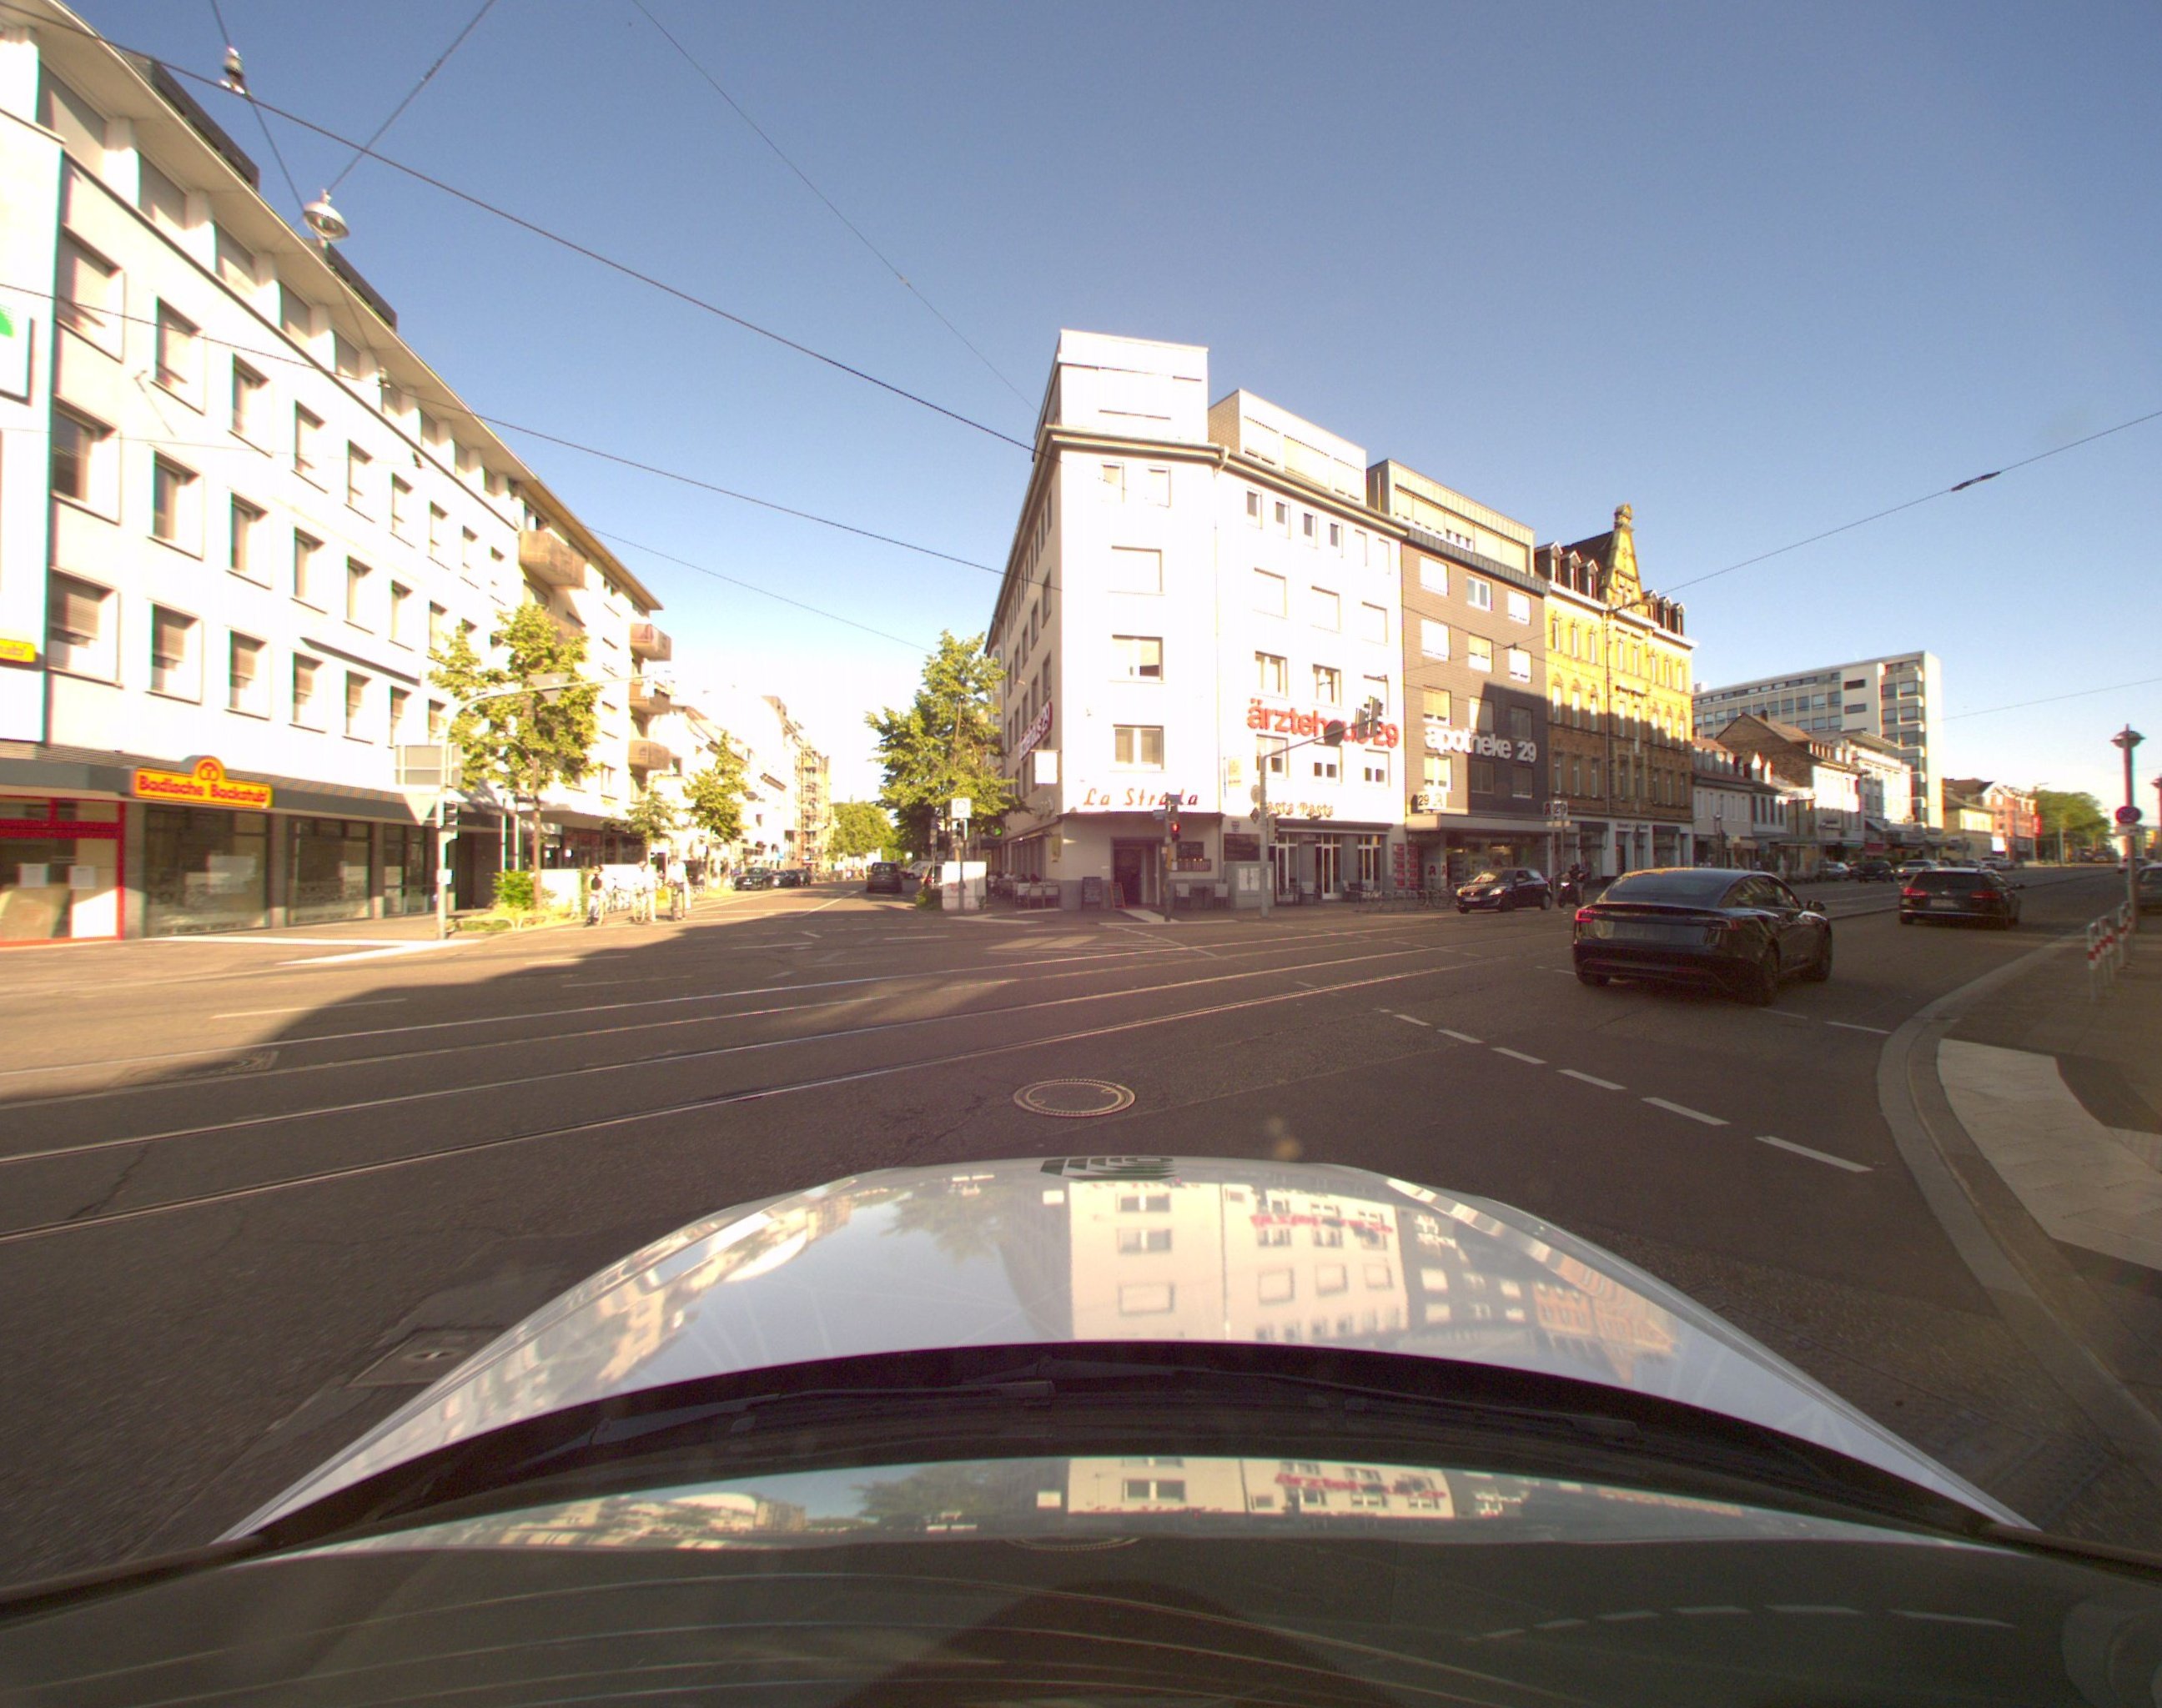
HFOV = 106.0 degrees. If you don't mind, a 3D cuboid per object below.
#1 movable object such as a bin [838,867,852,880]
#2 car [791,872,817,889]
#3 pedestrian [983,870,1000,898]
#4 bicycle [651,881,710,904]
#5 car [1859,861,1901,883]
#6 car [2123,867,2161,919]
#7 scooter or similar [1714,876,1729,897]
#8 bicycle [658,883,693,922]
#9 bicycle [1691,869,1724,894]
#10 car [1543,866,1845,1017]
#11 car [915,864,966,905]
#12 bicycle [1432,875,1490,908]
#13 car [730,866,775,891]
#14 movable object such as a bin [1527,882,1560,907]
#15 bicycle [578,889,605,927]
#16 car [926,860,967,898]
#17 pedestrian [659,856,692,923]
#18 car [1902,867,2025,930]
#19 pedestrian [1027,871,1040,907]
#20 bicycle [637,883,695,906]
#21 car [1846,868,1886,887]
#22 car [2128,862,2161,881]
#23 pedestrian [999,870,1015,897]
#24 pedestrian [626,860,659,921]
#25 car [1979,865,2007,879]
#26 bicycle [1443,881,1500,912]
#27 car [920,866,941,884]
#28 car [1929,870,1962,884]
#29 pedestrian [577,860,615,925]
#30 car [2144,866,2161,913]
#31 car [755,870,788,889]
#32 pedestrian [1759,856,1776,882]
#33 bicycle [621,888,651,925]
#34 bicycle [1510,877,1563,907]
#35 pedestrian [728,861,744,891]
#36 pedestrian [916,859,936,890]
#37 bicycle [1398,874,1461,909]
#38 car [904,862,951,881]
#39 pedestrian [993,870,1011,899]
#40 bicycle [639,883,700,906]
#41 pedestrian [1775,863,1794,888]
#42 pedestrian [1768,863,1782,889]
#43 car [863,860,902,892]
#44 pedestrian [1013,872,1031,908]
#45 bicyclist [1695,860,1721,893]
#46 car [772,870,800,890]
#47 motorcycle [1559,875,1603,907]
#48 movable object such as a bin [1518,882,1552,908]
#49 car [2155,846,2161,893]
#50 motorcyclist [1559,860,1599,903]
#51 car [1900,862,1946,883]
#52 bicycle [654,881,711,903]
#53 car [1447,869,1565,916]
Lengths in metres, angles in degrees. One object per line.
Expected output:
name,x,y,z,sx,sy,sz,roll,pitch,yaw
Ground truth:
movable object such as a bin,-26.977,2.242,93.139,1.316,1.408,1.061,0,-1,-28
car,-24.679,2.338,72.576,1.788,1.402,3.888,1,-1,-13
pedestrian,-4.433,1.463,40.255,0.710,1.347,1.054,0,-1,-14
bicycle,-18.577,1.776,37.837,2.398,0.978,0.651,0,-1,-22
car,56.555,1.259,57.655,2.841,1.566,1.636,0,-1,-35
car,32.021,1.104,23.645,4.319,1.462,1.834,1,-2,-34
scooter or similar,37.563,1.914,47.751,1.484,1.201,0.361,1,1,-39
bicycle,-11.663,1.384,23.475,0.761,1.008,1.712,-3,0,-23
bicycle,32.821,1.420,42.645,2.033,1.293,0.745,1,0,-34
car,7.590,0.872,9.940,4.384,1.427,1.854,0,-1,-38
car,-6.045,1.266,34.911,2.002,1.636,4.272,1,-1,-11
bicycle,15.031,1.458,32.210,0.778,1.172,1.918,1,0,-40
car,-22.187,1.621,55.139,1.993,1.598,3.986,1,-1,-10
movable object such as a bin,20.354,1.776,35.846,0.702,1.063,1.091,1,0,-35
bicycle,-13.416,1.462,22.331,0.482,0.956,1.443,0,-1,-25
car,-6.863,1.235,41.281,1.905,1.852,4.272,1,-1,-11
pedestrian,-11.697,1.005,23.526,0.782,1.866,0.993,-2,0,-26
car,21.978,1.050,20.236,4.375,1.419,1.747,2,-2,-39
pedestrian,-1.789,1.318,30.808,0.487,1.322,0.652,0,-1,-4
bicycle,-18.224,1.764,35.823,2.230,0.958,0.651,0,-1,-24
car,66.604,1.987,69.096,3.757,1.546,1.663,1,1,-34
car,103.549,1.681,79.154,3.769,1.871,2.069,0,-1,-35
pedestrian,-3.696,1.464,40.570,0.731,1.360,0.955,0,-1,-12
pedestrian,-12.627,1.035,23.453,0.782,1.728,0.554,1,-1,-26
car,124.134,2.429,110.822,4.744,1.961,1.993,1,-2,-36
bicycle,15.660,1.683,32.698,0.778,1.192,1.918,1,-2,-40
car,-15.495,2.178,83.946,1.994,1.825,3.985,1,-1,-11
car,94.540,2.487,89.069,3.873,1.508,1.757,1,-1,-32
pedestrian,-13.160,1.032,22.106,0.794,1.712,0.648,1,-1,-26
car,36.246,1.136,26.585,4.314,1.462,1.731,1,-2,-36
car,-23.522,1.938,61.930,1.788,1.402,3.888,1,-1,-13
pedestrian,46.825,1.022,55.582,0.719,1.775,0.611,1,-1,-22
bicycle,-12.565,1.455,23.012,0.554,0.968,1.781,0,-1,-23
bicycle,19.469,1.609,34.827,0.554,1.190,1.918,1,-2,-39
pedestrian,-24.478,1.558,57.786,0.956,2.013,1.080,-3,0,-25
pedestrian,-9.696,1.291,50.907,0.953,1.915,1.106,-1,-1,5
bicycle,13.293,1.398,31.139,0.778,1.223,2.085,1,0,-40
car,-17.923,2.073,95.234,5.396,2.146,1.991,0,-1,-13
pedestrian,-3.829,1.449,39.252,0.731,1.347,1.055,0,-1,-14
bicycle,-18.426,1.811,36.524,2.407,0.958,0.541,0,-1,-24
pedestrian,50.643,1.538,58.605,0.691,1.775,0.879,1,-1,-37
pedestrian,49.723,1.561,58.340,0.646,1.823,0.650,1,-2,-41
car,-11.095,1.222,45.693,1.905,1.733,4.272,1,-1,-11
pedestrian,-2.184,1.305,29.933,0.586,1.313,0.558,0,-1,-11
bicyclist,32.828,1.170,42.625,1.150,1.729,0.745,1,-2,-35
car,-24.488,2.120,67.685,1.719,1.610,3.582,0,-1,-12
motorcycle,18.117,1.318,29.495,2.126,1.120,0.565,1,-2,-35
movable object such as a bin,19.755,1.767,35.430,0.738,1.072,1.091,1,0,-35
car,59.482,0.778,43.635,5.385,2.462,2.154,1,-3,-36
motorcyclist,18.103,0.998,29.588,1.150,1.558,0.797,1,-3,-35
car,66.463,1.435,64.279,4.280,1.594,1.875,1,-3,-35
bicycle,-18.870,1.788,38.624,2.406,1.006,0.651,0,-1,-22
car,14.082,1.250,26.940,4.156,1.446,1.700,0,-3,-35
